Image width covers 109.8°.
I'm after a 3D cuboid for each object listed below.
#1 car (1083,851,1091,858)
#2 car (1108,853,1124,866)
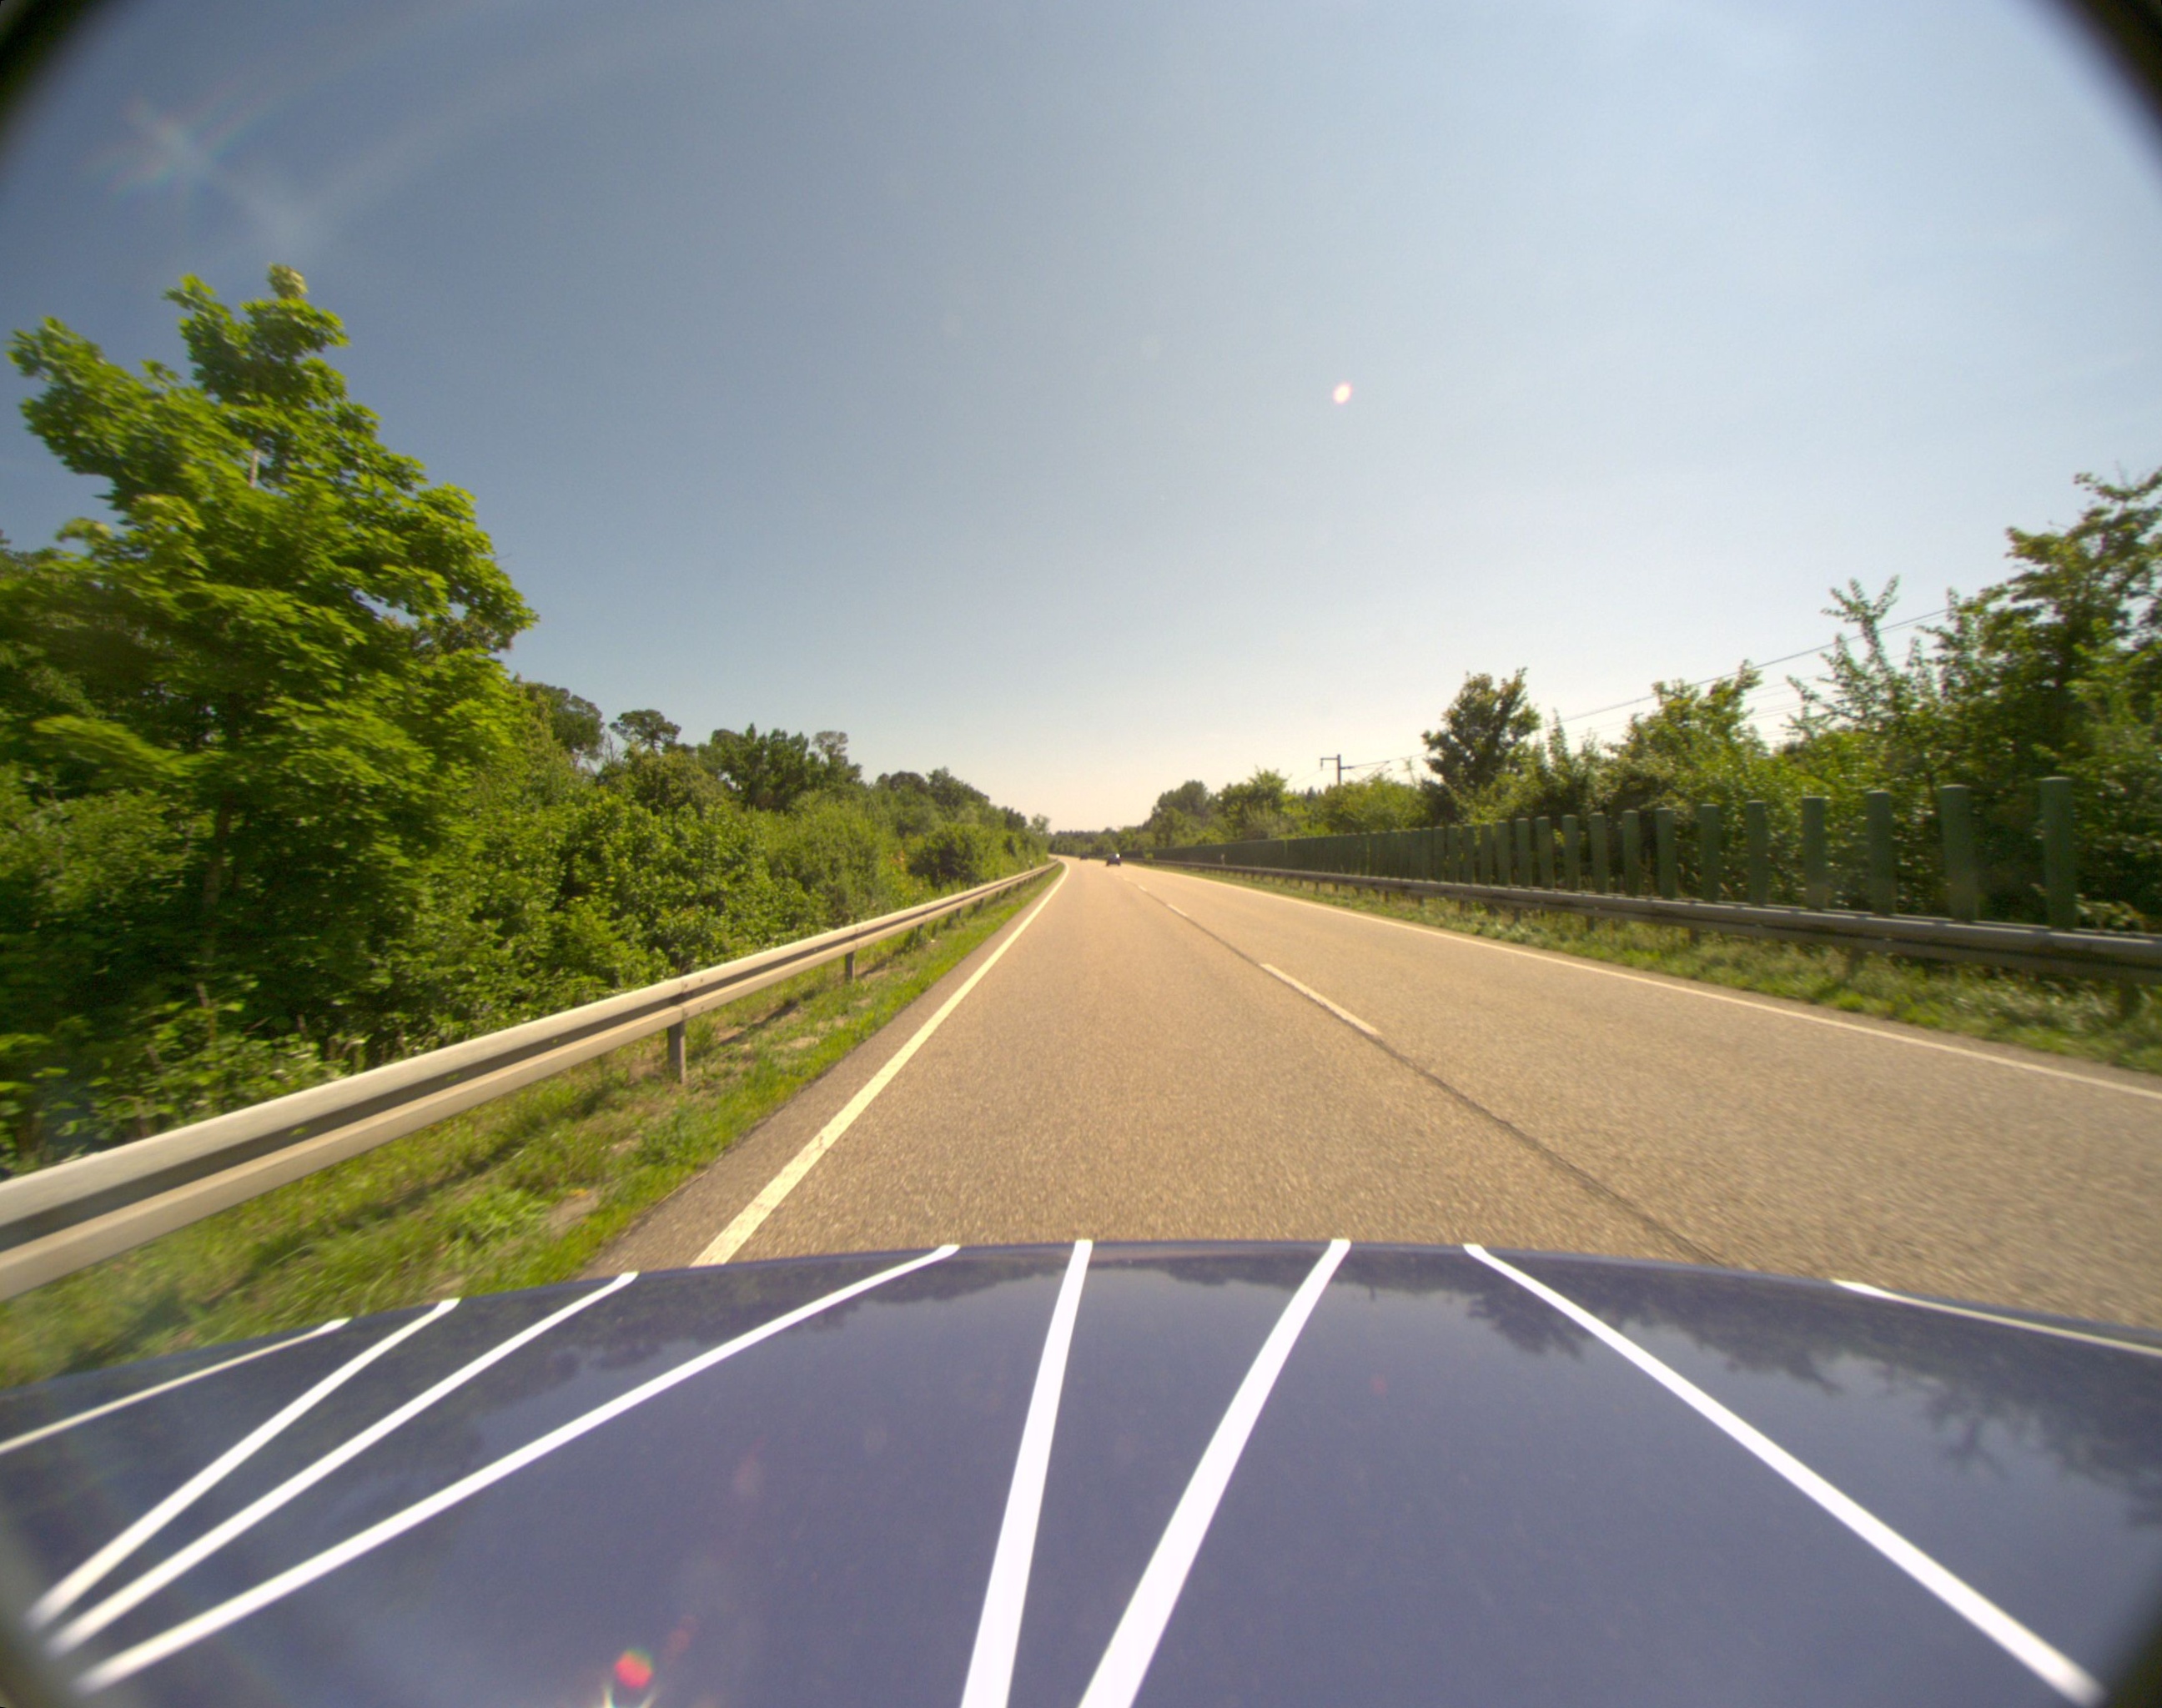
[{"bbox_3d":[1.476,0.064,189.005,1.768,1.630,4.126,-2,0,1],"label":"car"},{"bbox_3d":[4.269,0.645,93.125,1.652,1.470,3.676,-2,0,-1],"label":"car"}]
